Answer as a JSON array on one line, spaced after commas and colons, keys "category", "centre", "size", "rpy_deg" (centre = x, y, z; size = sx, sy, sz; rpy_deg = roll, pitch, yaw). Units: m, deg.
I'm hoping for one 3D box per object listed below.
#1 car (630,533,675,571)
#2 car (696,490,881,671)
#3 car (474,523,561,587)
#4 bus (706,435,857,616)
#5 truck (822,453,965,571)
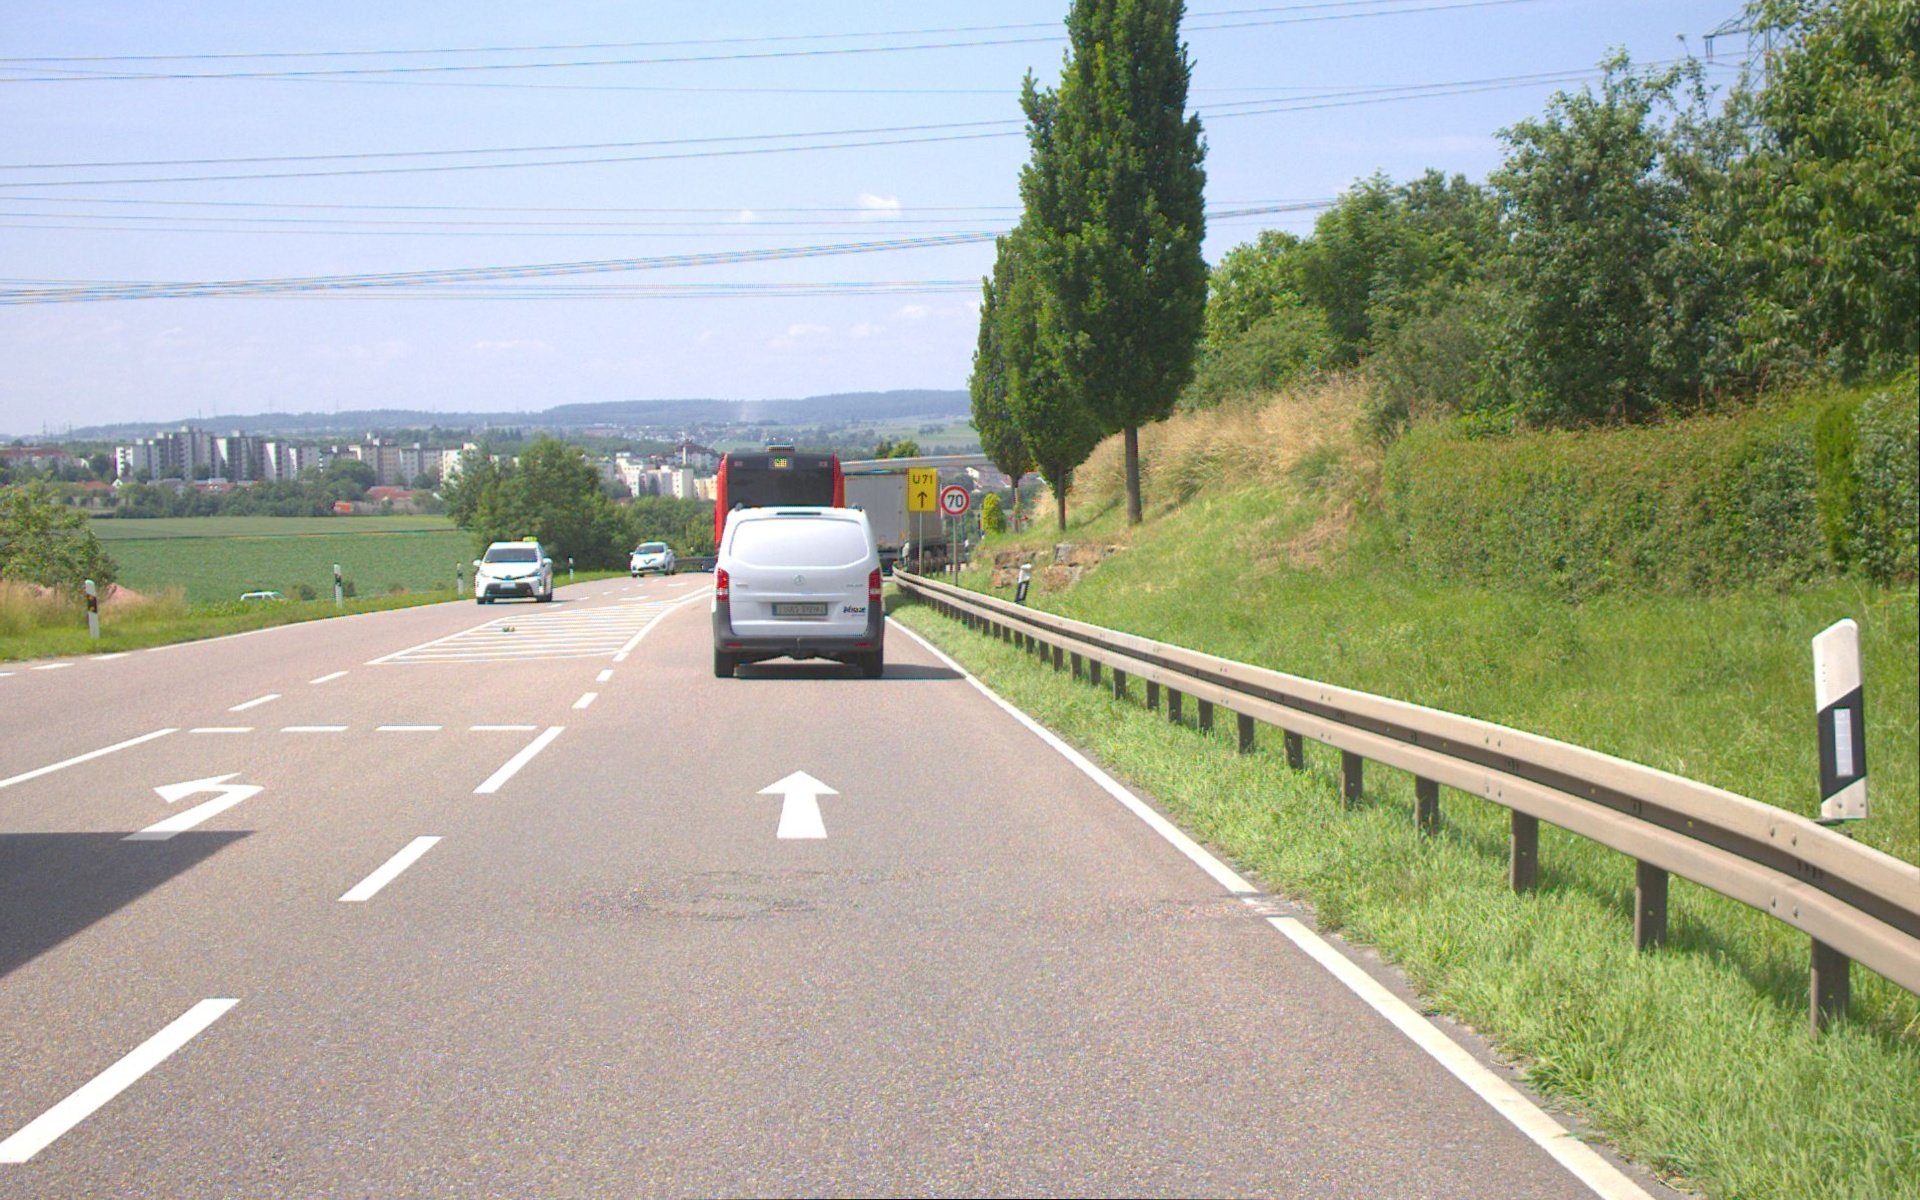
[{"category": "car", "centre": [-14.252, -2.229, 159.288], "size": [1.766, 1.681, 3.826], "rpy_deg": [-2, 1, -1]}, {"category": "car", "centre": [-1.891, -0.264, 39.001], "size": [1.923, 1.883, 4.001], "rpy_deg": [-2, 2, -1]}, {"category": "car", "centre": [-11.521, -1.200, 89.750], "size": [1.853, 1.560, 4.075], "rpy_deg": [-2, 1, -2]}, {"category": "bus", "centre": [-3.782, -1.769, 73.270], "size": [2.747, 3.341, 13.225], "rpy_deg": [-3, 3, -3]}, {"category": "truck", "centre": [-2.517, -3.509, 137.383], "size": [3.489, 4.408, 14.899], "rpy_deg": [-1, 1, 7]}]
